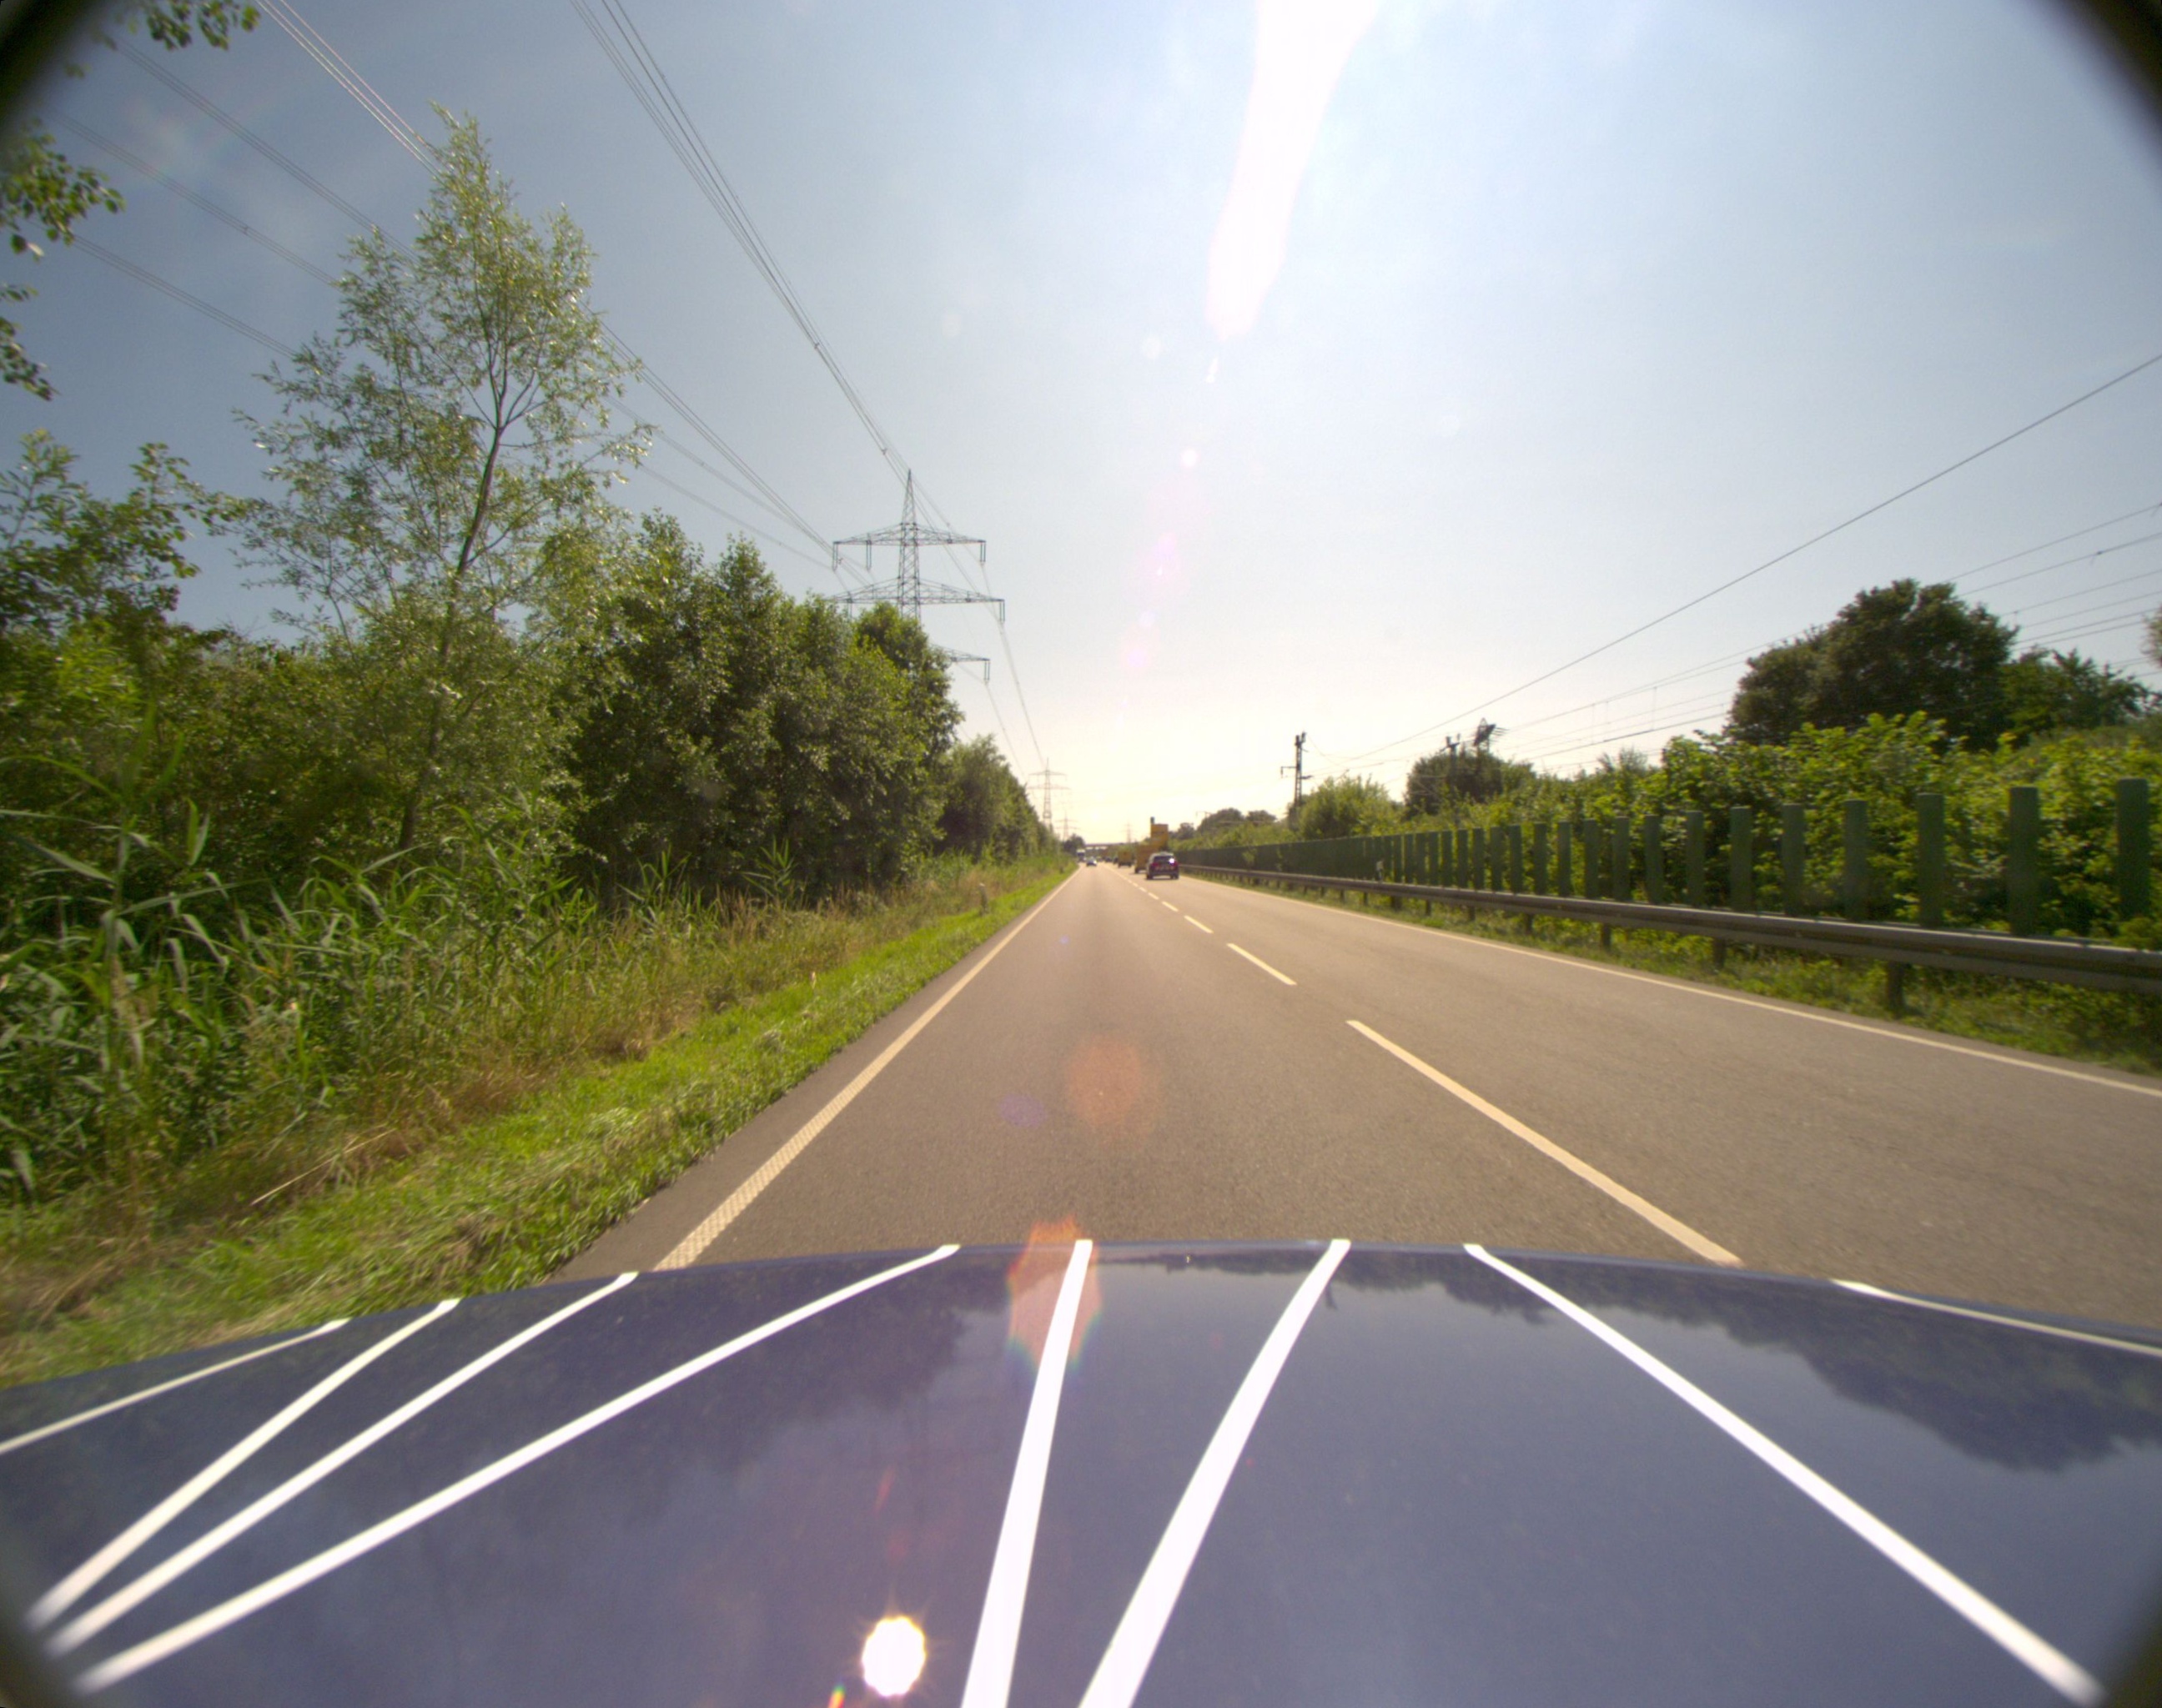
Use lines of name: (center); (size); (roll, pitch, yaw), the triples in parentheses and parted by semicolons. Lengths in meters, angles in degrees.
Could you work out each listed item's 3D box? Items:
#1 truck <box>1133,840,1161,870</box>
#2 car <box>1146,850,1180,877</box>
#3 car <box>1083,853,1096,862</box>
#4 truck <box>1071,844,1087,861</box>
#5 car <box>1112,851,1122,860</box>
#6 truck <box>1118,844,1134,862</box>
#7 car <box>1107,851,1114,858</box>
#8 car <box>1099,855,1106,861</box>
truck: (5.952, 0.088, 69.127); (2.085, 2.631, 5.704); (-2, 0, 1)
car: (5.300, 0.589, 49.612); (1.819, 1.684, 4.706); (-1, 0, 1)
car: (1.351, 0.573, 122.913); (1.998, 1.346, 4.157); (-2, 1, 0)
truck: (-0.533, -0.398, 230.049); (4.219, 4.608, 21.303); (-2, 0, 0)
car: (6.953, 0.243, 145.629); (1.806, 1.578, 4.371); (-1, 0, 1)
truck: (6.317, -0.157, 107.030); (1.998, 2.334, 6.012); (-1, 0, 1)
car: (7.349, 0.147, 189.021); (1.677, 1.506, 4.289); (-1, 0, 0)
car: (6.136, 1.220, 217.076); (1.829, 1.596, 4.323); (-2, 0, 1)
